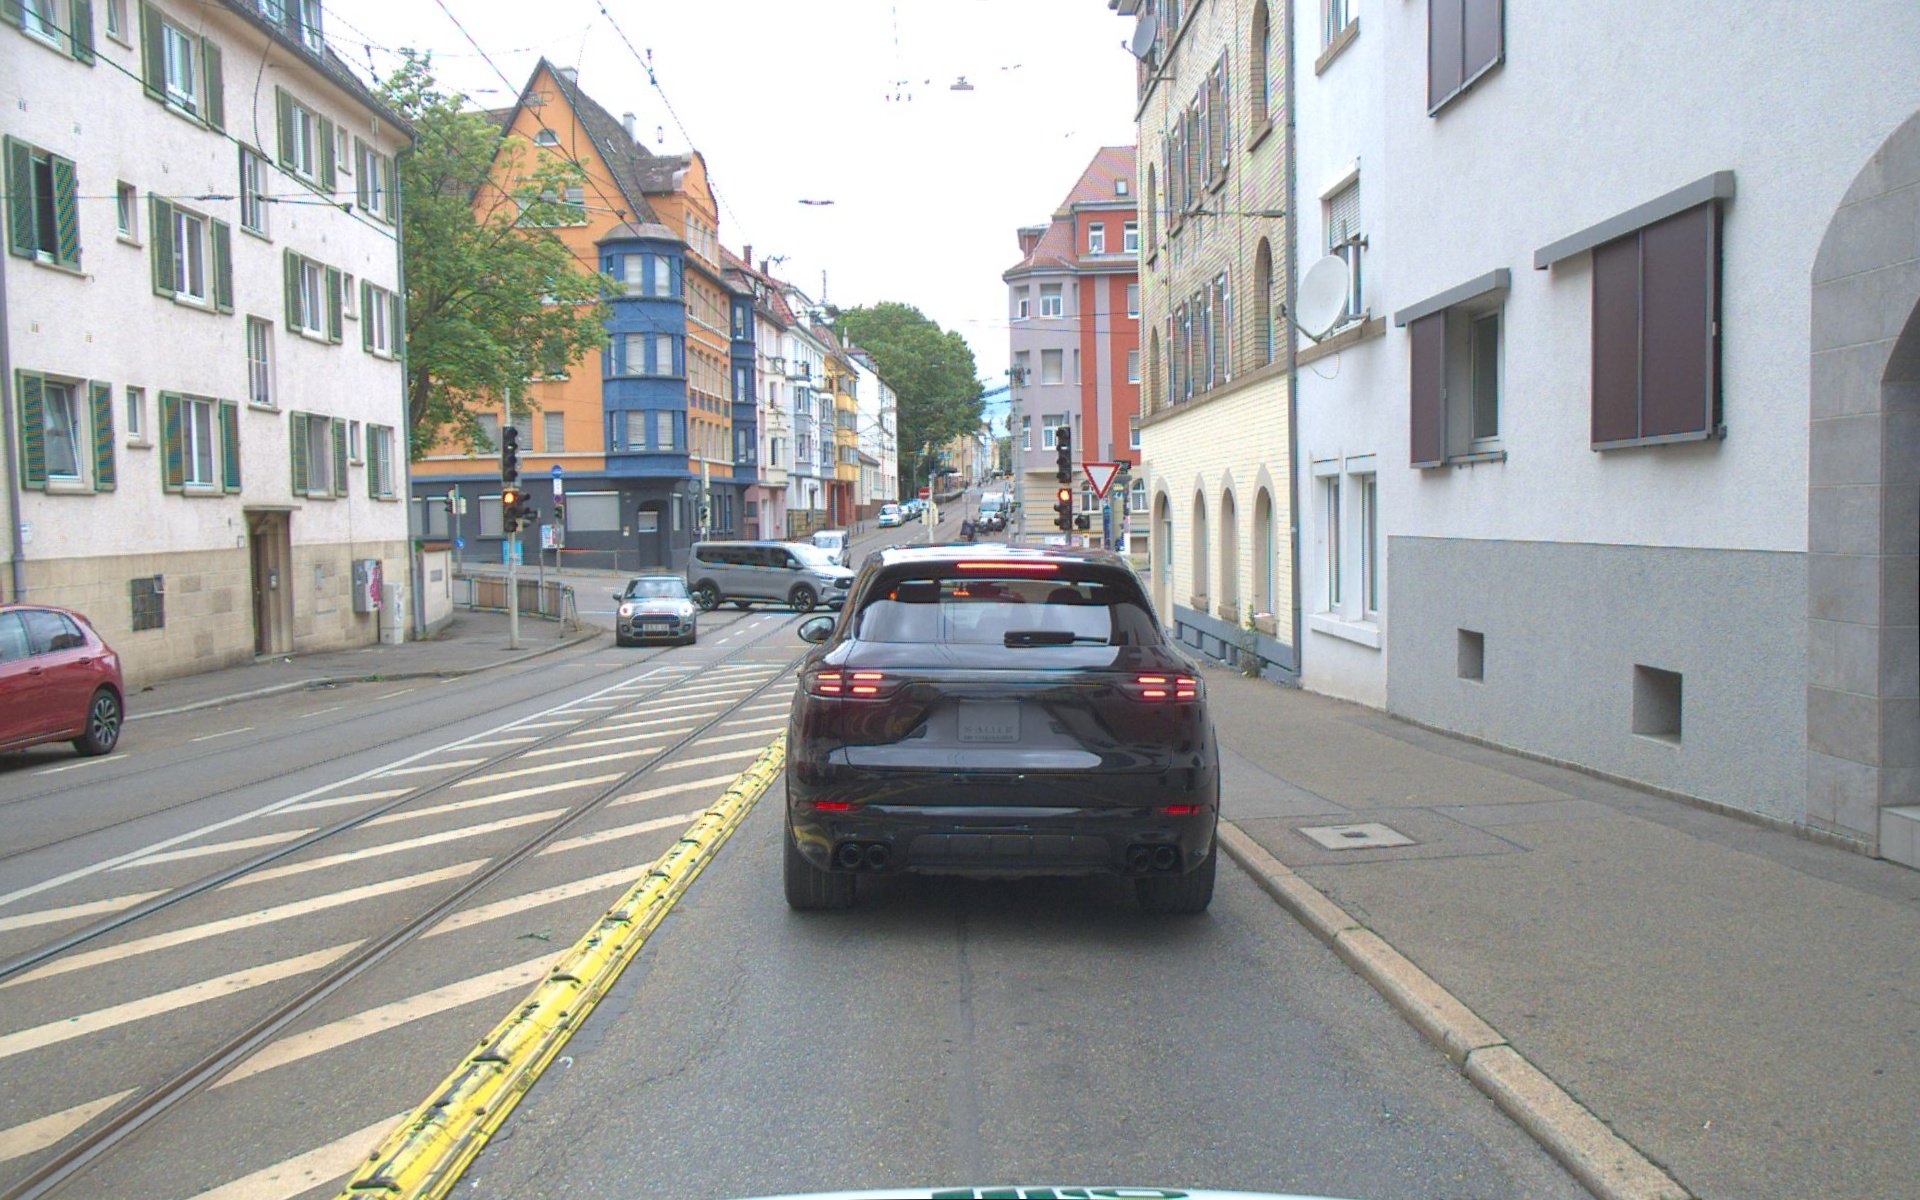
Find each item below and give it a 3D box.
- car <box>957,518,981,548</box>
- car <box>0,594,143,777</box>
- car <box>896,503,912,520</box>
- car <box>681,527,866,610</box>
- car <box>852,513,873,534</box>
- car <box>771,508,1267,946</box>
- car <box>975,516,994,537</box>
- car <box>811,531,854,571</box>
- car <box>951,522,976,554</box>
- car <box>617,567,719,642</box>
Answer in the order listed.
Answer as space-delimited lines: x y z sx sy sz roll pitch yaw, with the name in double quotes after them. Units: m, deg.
0.545 -4.087 101.719 1.366 1.752 3.359 -1 1 0 "car"
-8.802 0.739 14.250 1.588 1.516 4.045 -2 0 -2 "car"
-5.155 -8.137 152.428 1.366 1.476 3.359 -1 1 0 "car"
-5.506 -0.891 48.715 5.185 2.280 1.998 0 -2 26 "car"
-7.393 -5.780 125.109 1.366 1.476 3.359 -1 1 0 "car"
0.197 0.474 8.605 1.953 1.705 3.999 -1 1 -1 "car"
1.855 -5.622 126.733 1.366 1.476 3.359 -1 1 0 "car"
-6.033 -2.304 78.848 1.715 1.790 4.254 -1 1 0 "car"
0.165 -3.531 94.601 1.366 1.752 3.359 -1 1 0 "car"
-6.329 0.060 36.184 1.600 1.534 3.540 -1 1 -1 "car"
